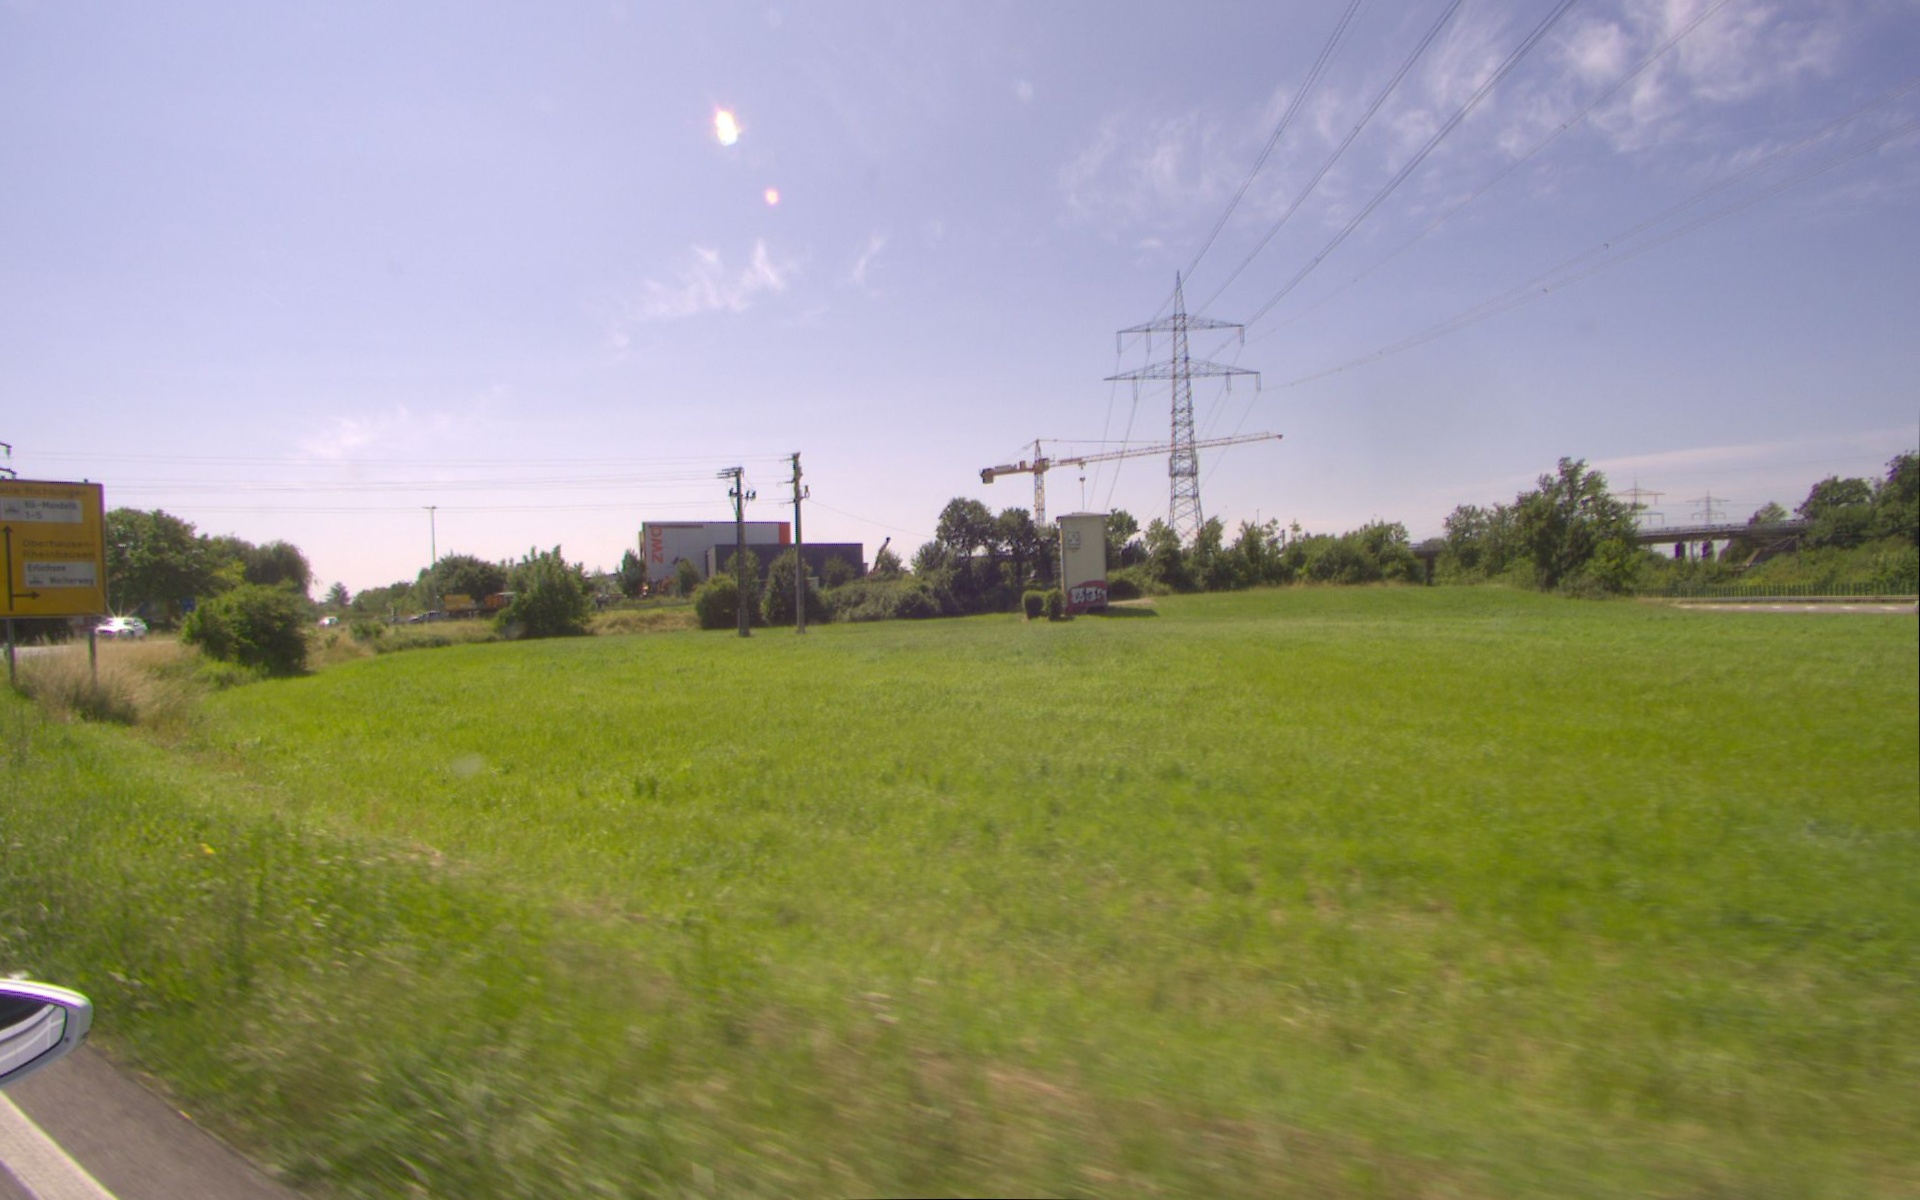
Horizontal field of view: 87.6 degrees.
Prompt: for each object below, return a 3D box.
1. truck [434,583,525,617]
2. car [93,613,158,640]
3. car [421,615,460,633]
[{"bbox_3d":[-50.940,0.083,106.423,3.058,3.176,8.777,-2,-2,25],"label":"truck"},{"bbox_3d":[-53.205,1.695,63.955,1.831,1.622,4.763,1,-1,-22],"label":"car"},{"bbox_3d":[-61.552,2.799,118.639,3.936,2.039,1.994,0,-2,-25],"label":"car"}]
